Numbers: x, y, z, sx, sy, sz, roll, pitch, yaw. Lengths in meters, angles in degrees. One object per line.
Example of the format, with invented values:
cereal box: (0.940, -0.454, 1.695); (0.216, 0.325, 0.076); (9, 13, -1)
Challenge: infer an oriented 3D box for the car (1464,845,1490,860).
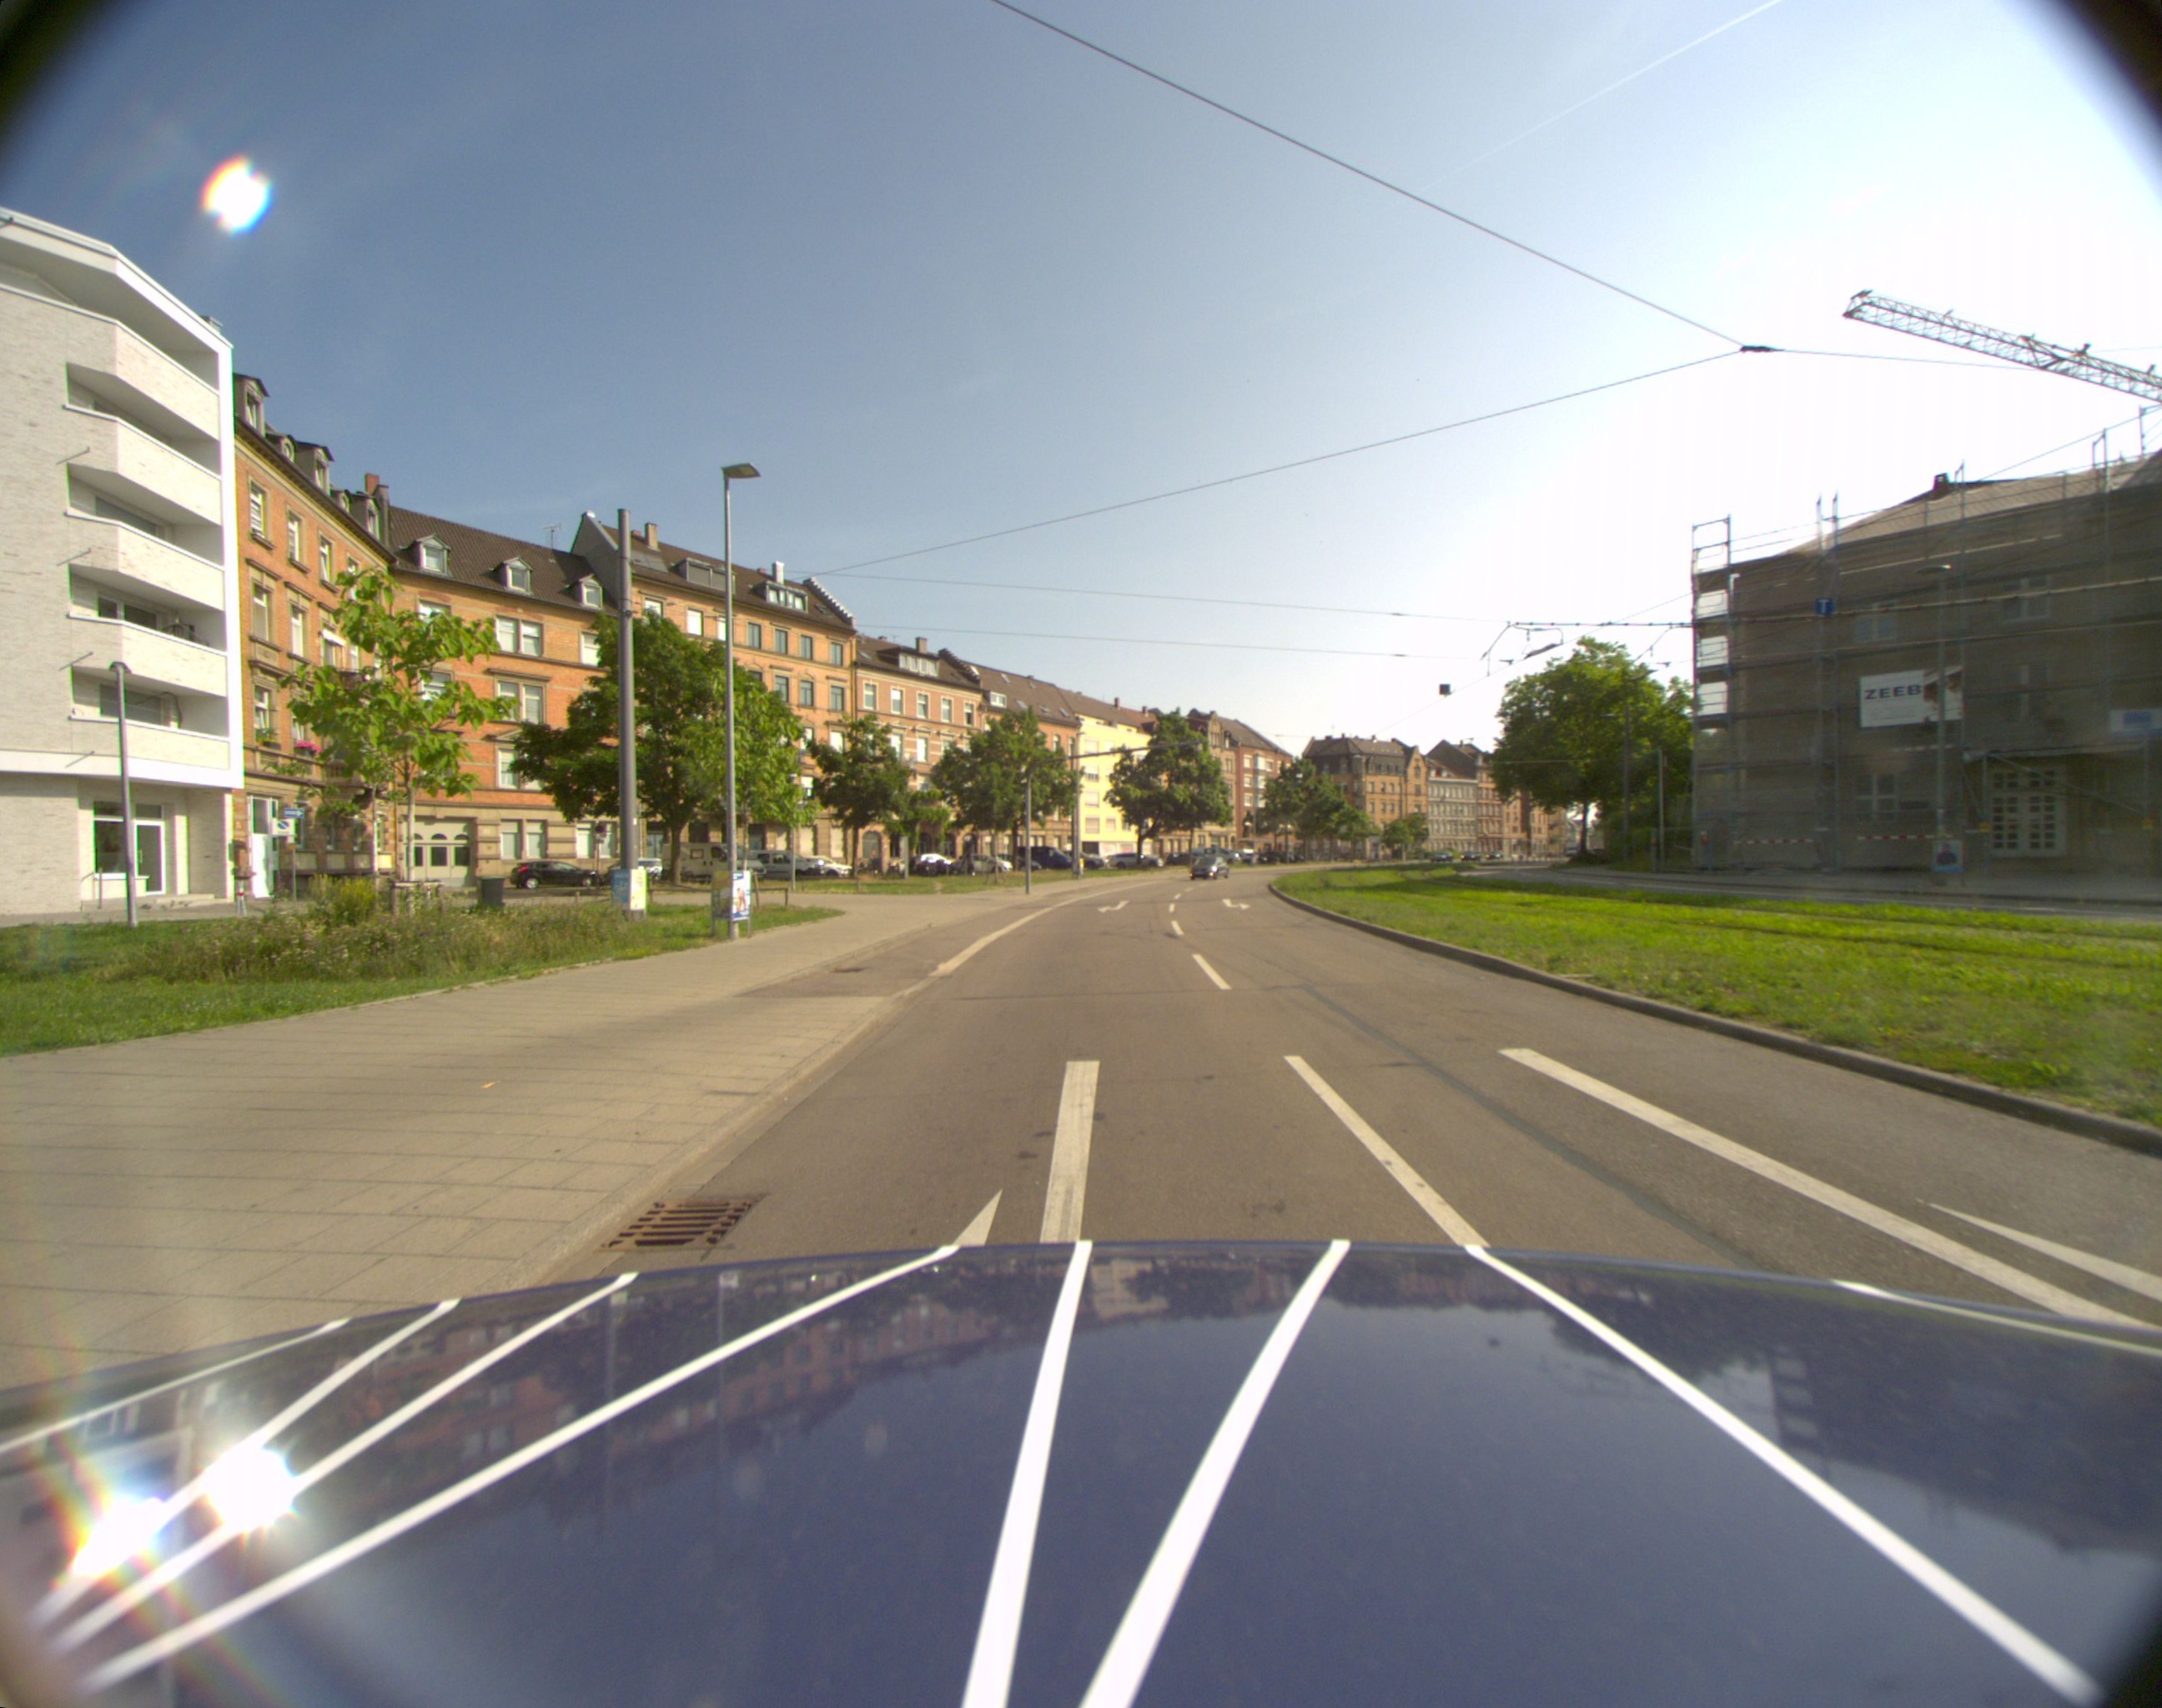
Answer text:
car: (49.641, -0.178, 95.306); (1.994, 1.849, 4.008); (0, 0, 42)

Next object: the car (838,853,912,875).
car: (-12.079, 0.577, 44.656); (3.852, 1.242, 1.722); (-1, 0, 5)

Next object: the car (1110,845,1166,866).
car: (5.076, 0.103, 67.211); (4.731, 1.755, 1.723); (1, 1, 12)

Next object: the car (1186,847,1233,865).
car: (12.673, 0.199, 75.270); (4.415, 1.755, 1.722); (1, 1, 4)

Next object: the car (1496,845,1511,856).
car: (66.647, -0.506, 119.871); (1.598, 1.610, 3.560); (-2, 1, 35)

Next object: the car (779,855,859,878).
car: (-14.647, 0.701, 42.607); (3.852, 1.242, 1.722); (-1, 0, 5)

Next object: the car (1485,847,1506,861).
car: (61.636, 0.023, 112.885); (1.994, 2.002, 4.008); (0, 1, 40)

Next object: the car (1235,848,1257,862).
car: (21.564, 0.111, 99.106); (2.790, 1.722, 1.326); (-1, 0, -41)

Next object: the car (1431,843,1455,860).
car: (46.808, -0.320, 98.201); (1.994, 2.002, 4.007); (-2, 1, 37)

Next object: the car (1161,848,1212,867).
car: (10.128, 0.291, 72.765); (4.731, 1.755, 1.723); (1, 1, 12)

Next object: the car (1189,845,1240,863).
car: (13.660, -0.021, 77.763); (4.923, 1.827, 1.721); (1, 1, 0)

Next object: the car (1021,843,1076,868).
car: (-2.414, 0.132, 57.043); (3.851, 1.795, 1.787); (-1, 0, 7)

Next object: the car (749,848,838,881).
car: (-15.289, 0.537, 40.511); (3.980, 1.696, 1.881); (-1, 0, 5)

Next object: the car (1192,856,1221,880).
car: (8.047, 0.845, 48.539); (1.642, 1.411, 3.898); (-1, 0, 11)

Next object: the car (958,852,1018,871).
car: (-6.394, 0.503, 52.509); (3.852, 1.242, 1.722); (-1, 0, 5)

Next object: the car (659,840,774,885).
car: (-18.276, 0.438, 38.197); (5.038, 2.166, 1.882); (-1, 0, 11)

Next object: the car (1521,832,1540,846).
car: (69.435, -2.357, 117.320); (1.994, 1.967, 4.007); (-2, 1, 37)

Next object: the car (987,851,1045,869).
car: (-4.608, 0.443, 54.390); (3.852, 1.242, 1.722); (-1, 0, 5)
